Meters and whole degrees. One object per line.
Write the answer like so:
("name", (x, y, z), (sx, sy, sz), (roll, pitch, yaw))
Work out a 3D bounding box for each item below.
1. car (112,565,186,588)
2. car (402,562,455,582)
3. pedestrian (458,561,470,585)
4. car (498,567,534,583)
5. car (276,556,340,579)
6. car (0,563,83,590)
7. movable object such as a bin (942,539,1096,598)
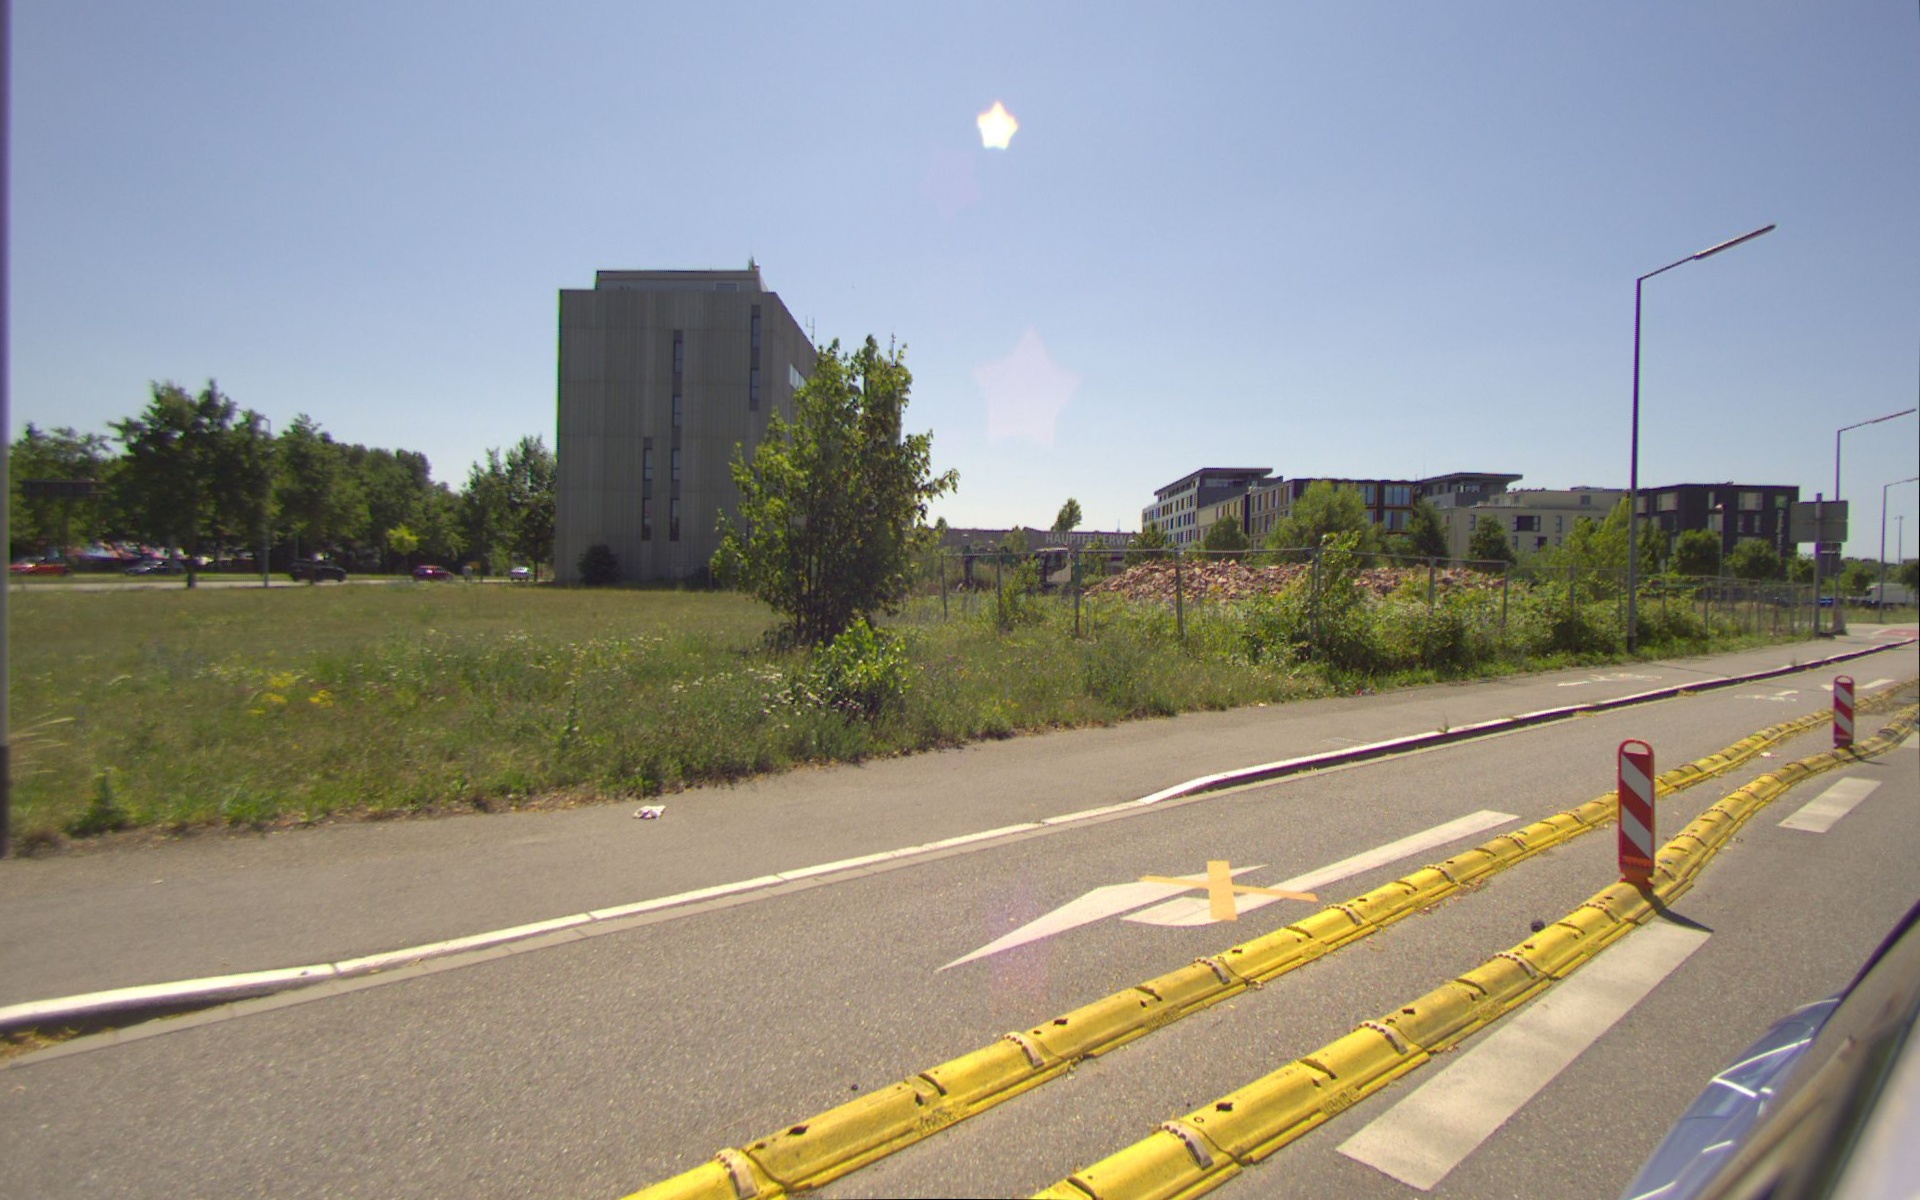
("car", (-59.206, -1.708, 73.992), (1.814, 1.612, 4.443), (0, 0, 1))
("car", (-44.514, -2.310, 84.842), (1.963, 1.546, 4.417), (0, 0, 2))
("pedestrian", (-33.979, -1.857, 69.378), (0.652, 1.611, 0.557), (0, 0, -15))
("car", (-46.198, -2.587, 105.396), (1.961, 1.546, 4.423), (1, 1, -3))
("car", (-48.433, -2.376, 75.246), (1.961, 1.615, 4.421), (2, 1, -2))
("car", (-59.285, -1.483, 65.149), (1.814, 1.612, 4.415), (0, 0, 1))
("movable object such as a bin", (3.125, -1.599, 53.311), (7.537, 2.952, 3.242), (-1, 0, -26))
